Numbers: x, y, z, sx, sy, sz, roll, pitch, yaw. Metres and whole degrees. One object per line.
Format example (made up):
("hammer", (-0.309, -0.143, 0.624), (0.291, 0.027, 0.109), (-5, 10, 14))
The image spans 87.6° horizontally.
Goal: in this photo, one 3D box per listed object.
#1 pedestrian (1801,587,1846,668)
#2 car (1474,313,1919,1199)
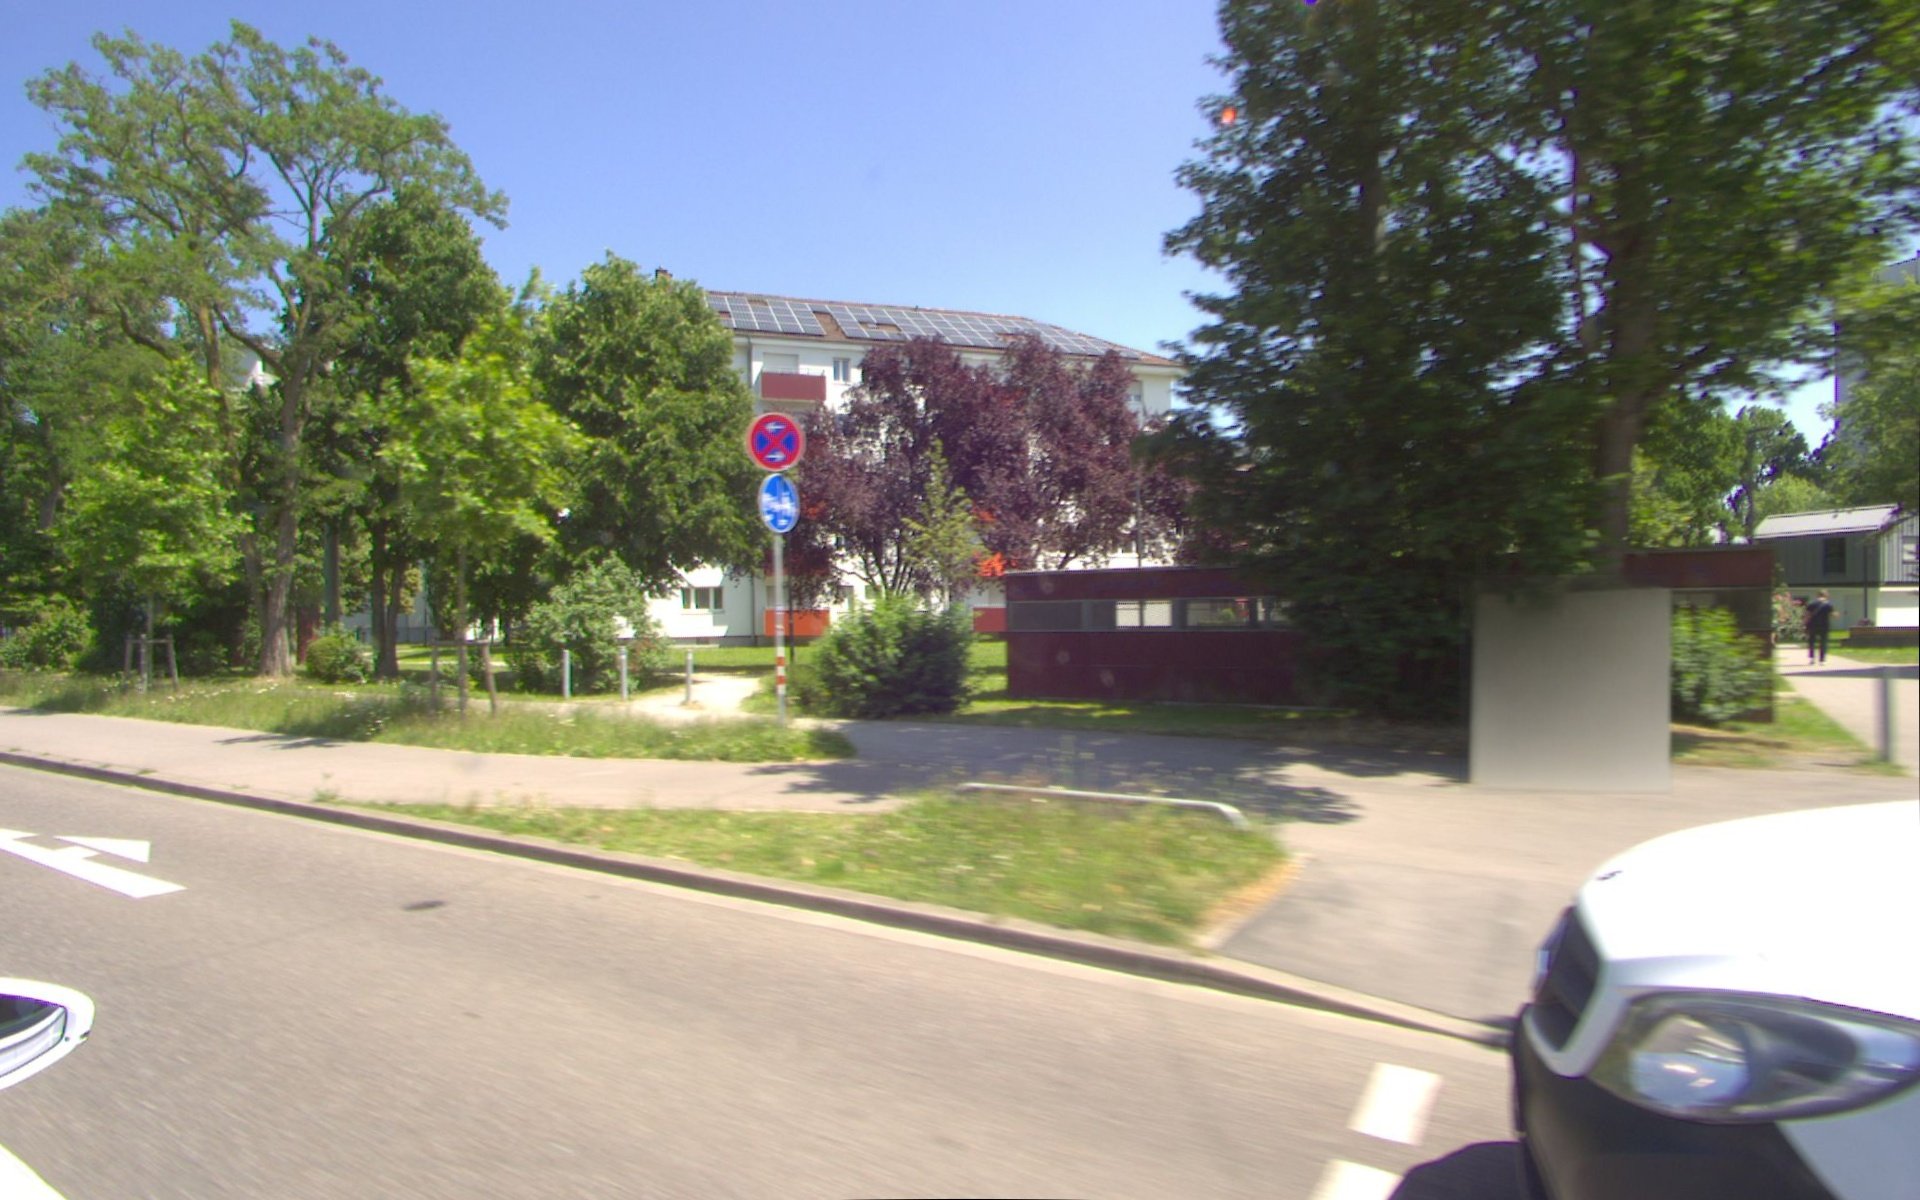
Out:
("pedestrian", (21.382, 0.685, 24.814), (0.745, 1.942, 0.884), (-1, -2, 35))
("car", (3.381, 0.568, 0.979), (5.009, 1.879, 1.802), (-1, -2, 32))
